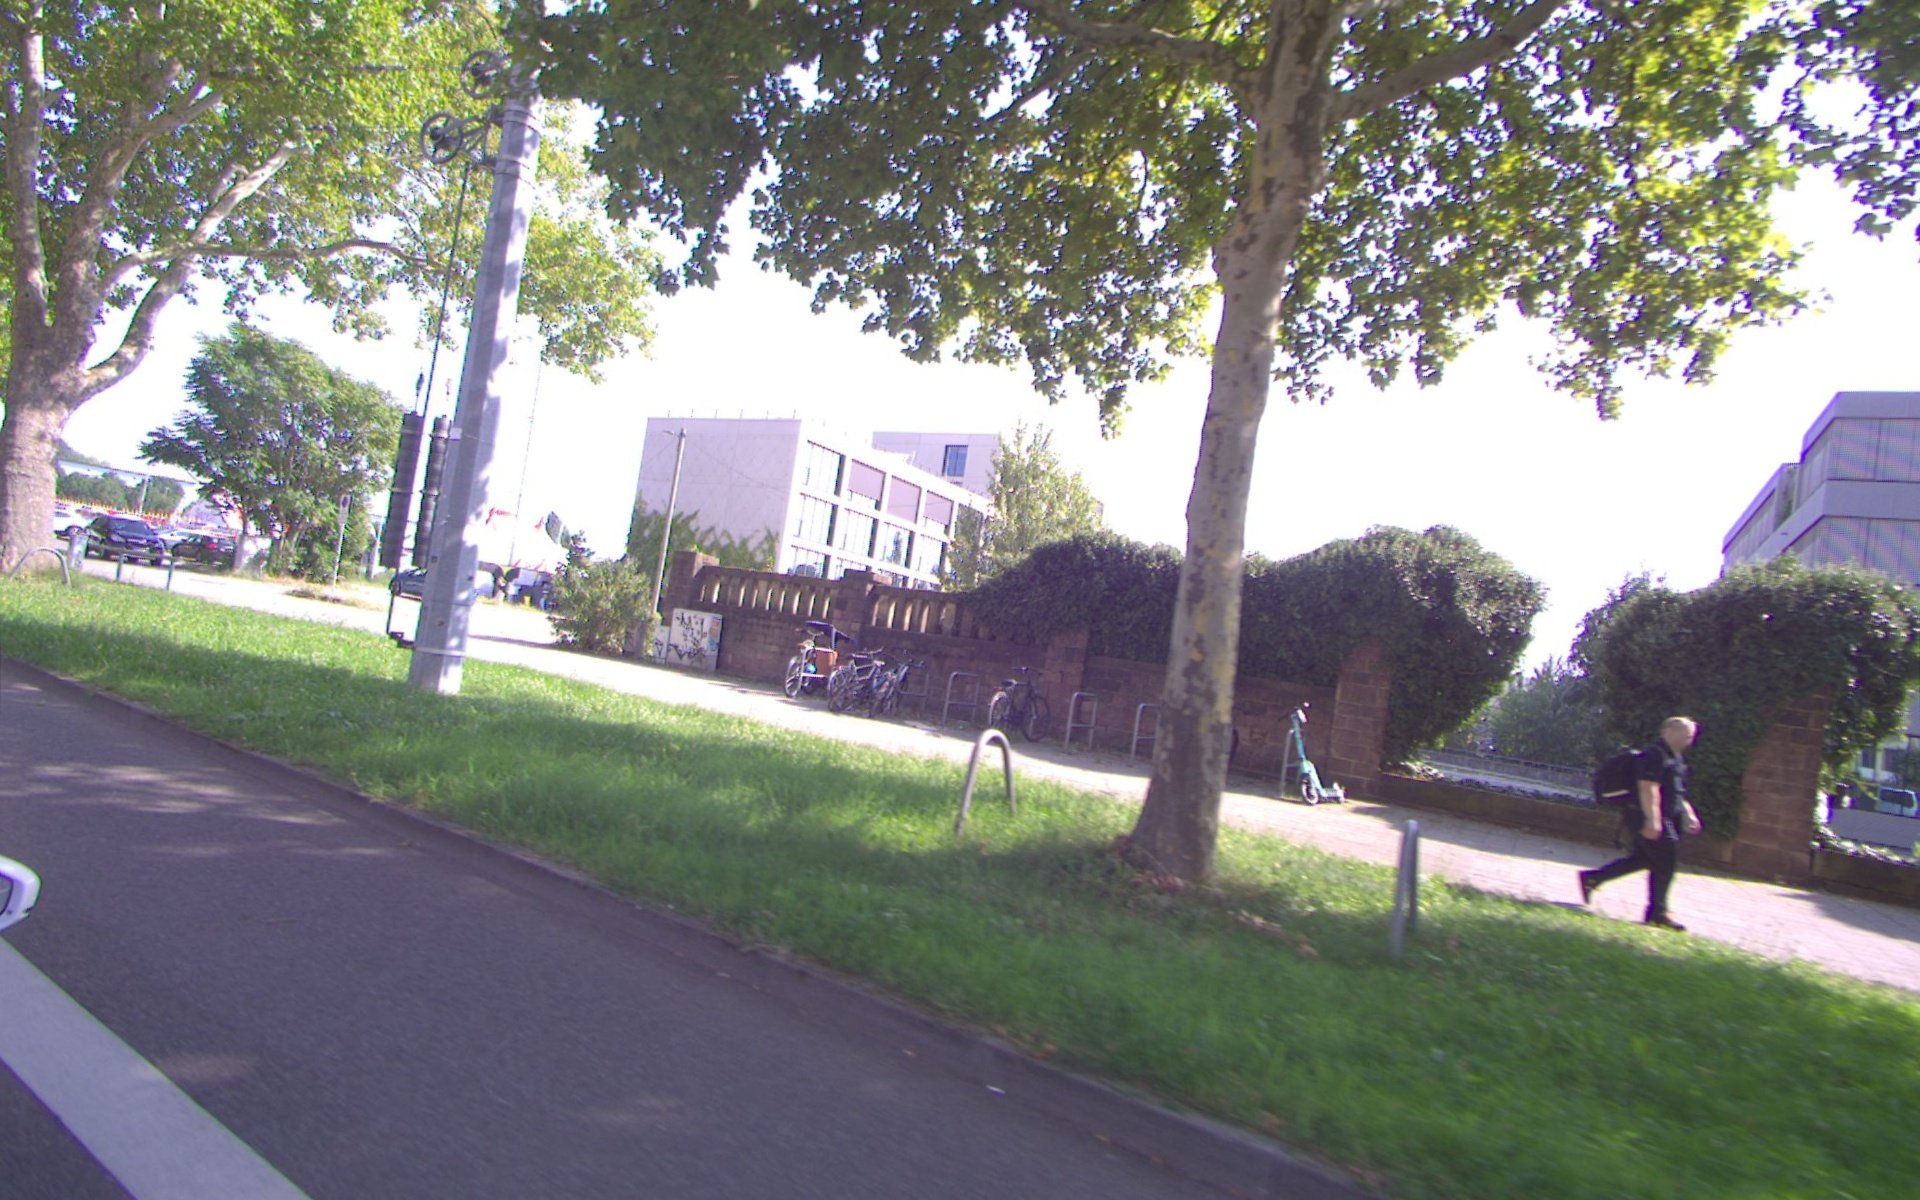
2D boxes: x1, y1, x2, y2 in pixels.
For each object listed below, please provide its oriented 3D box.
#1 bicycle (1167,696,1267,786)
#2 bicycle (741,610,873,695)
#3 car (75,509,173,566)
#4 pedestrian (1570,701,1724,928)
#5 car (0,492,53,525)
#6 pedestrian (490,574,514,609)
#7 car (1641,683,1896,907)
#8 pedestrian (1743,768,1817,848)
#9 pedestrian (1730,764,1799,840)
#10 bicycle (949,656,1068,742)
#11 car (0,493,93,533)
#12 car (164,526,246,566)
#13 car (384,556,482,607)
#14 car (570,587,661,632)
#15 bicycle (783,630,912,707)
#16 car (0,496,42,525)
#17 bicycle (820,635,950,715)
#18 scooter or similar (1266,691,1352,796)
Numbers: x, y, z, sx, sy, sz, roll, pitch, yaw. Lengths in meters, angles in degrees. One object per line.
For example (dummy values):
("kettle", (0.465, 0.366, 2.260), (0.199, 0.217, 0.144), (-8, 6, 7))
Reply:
("bicycle", (3.486, 1.884, 13.543), (0.722, 1.017, 1.872), (7, -3, 30))
("bicycle", (-2.658, 0.958, 17.784), (0.982, 1.292, 2.248), (6, -1, 31))
("car", (-31.365, -2.356, 37.723), (3.733, 1.593, 1.611), (7, -1, 32))
("pedestrian", (5.324, 1.625, 7.852), (0.774, 1.532, 0.785), (8, -1, 31))
("car", (-66.732, -6.599, 70.398), (1.914, 1.730, 4.358), (7, -4, 30))
("pedestrian", (-23.601, -0.445, 51.826), (0.921, 1.661, 0.697), (8, -1, -25))
("car", (11.915, 2.790, 15.272), (2.214, 2.461, 5.387), (7, -3, 33))
("pedestrian", (24.403, 6.153, 29.977), (1.365, 2.036, 1.080), (7, -2, 31))
("pedestrian", (24.783, 6.200, 31.012), (1.335, 2.036, 0.941), (7, -2, 31))
("bicycle", (0.764, 1.503, 14.924), (0.730, 1.088, 2.180), (7, -3, 30))
("car", (-53.892, -5.112, 58.838), (1.914, 1.479, 4.358), (7, -4, 30))
("car", (-38.056, -2.729, 50.717), (4.048, 1.411, 1.819), (7, -3, 31))
("car", (-23.458, -0.820, 44.768), (3.887, 1.592, 1.711), (8, -3, 26))
("car", (-16.546, 0.497, 48.452), (1.717, 1.500, 3.797), (8, -4, 30))
("bicycle", (-1.788, 1.147, 16.414), (0.731, 1.089, 2.175), (7, -1, 35))
("car", (-61.107, -5.926, 63.364), (1.914, 1.479, 4.358), (7, -4, 30))
("bicycle", (-1.147, 1.210, 15.901), (0.731, 1.089, 2.175), (7, -1, 35))
("scooter or similar", (4.516, 1.828, 12.958), (0.530, 1.205, 1.507), (7, -1, 35))
